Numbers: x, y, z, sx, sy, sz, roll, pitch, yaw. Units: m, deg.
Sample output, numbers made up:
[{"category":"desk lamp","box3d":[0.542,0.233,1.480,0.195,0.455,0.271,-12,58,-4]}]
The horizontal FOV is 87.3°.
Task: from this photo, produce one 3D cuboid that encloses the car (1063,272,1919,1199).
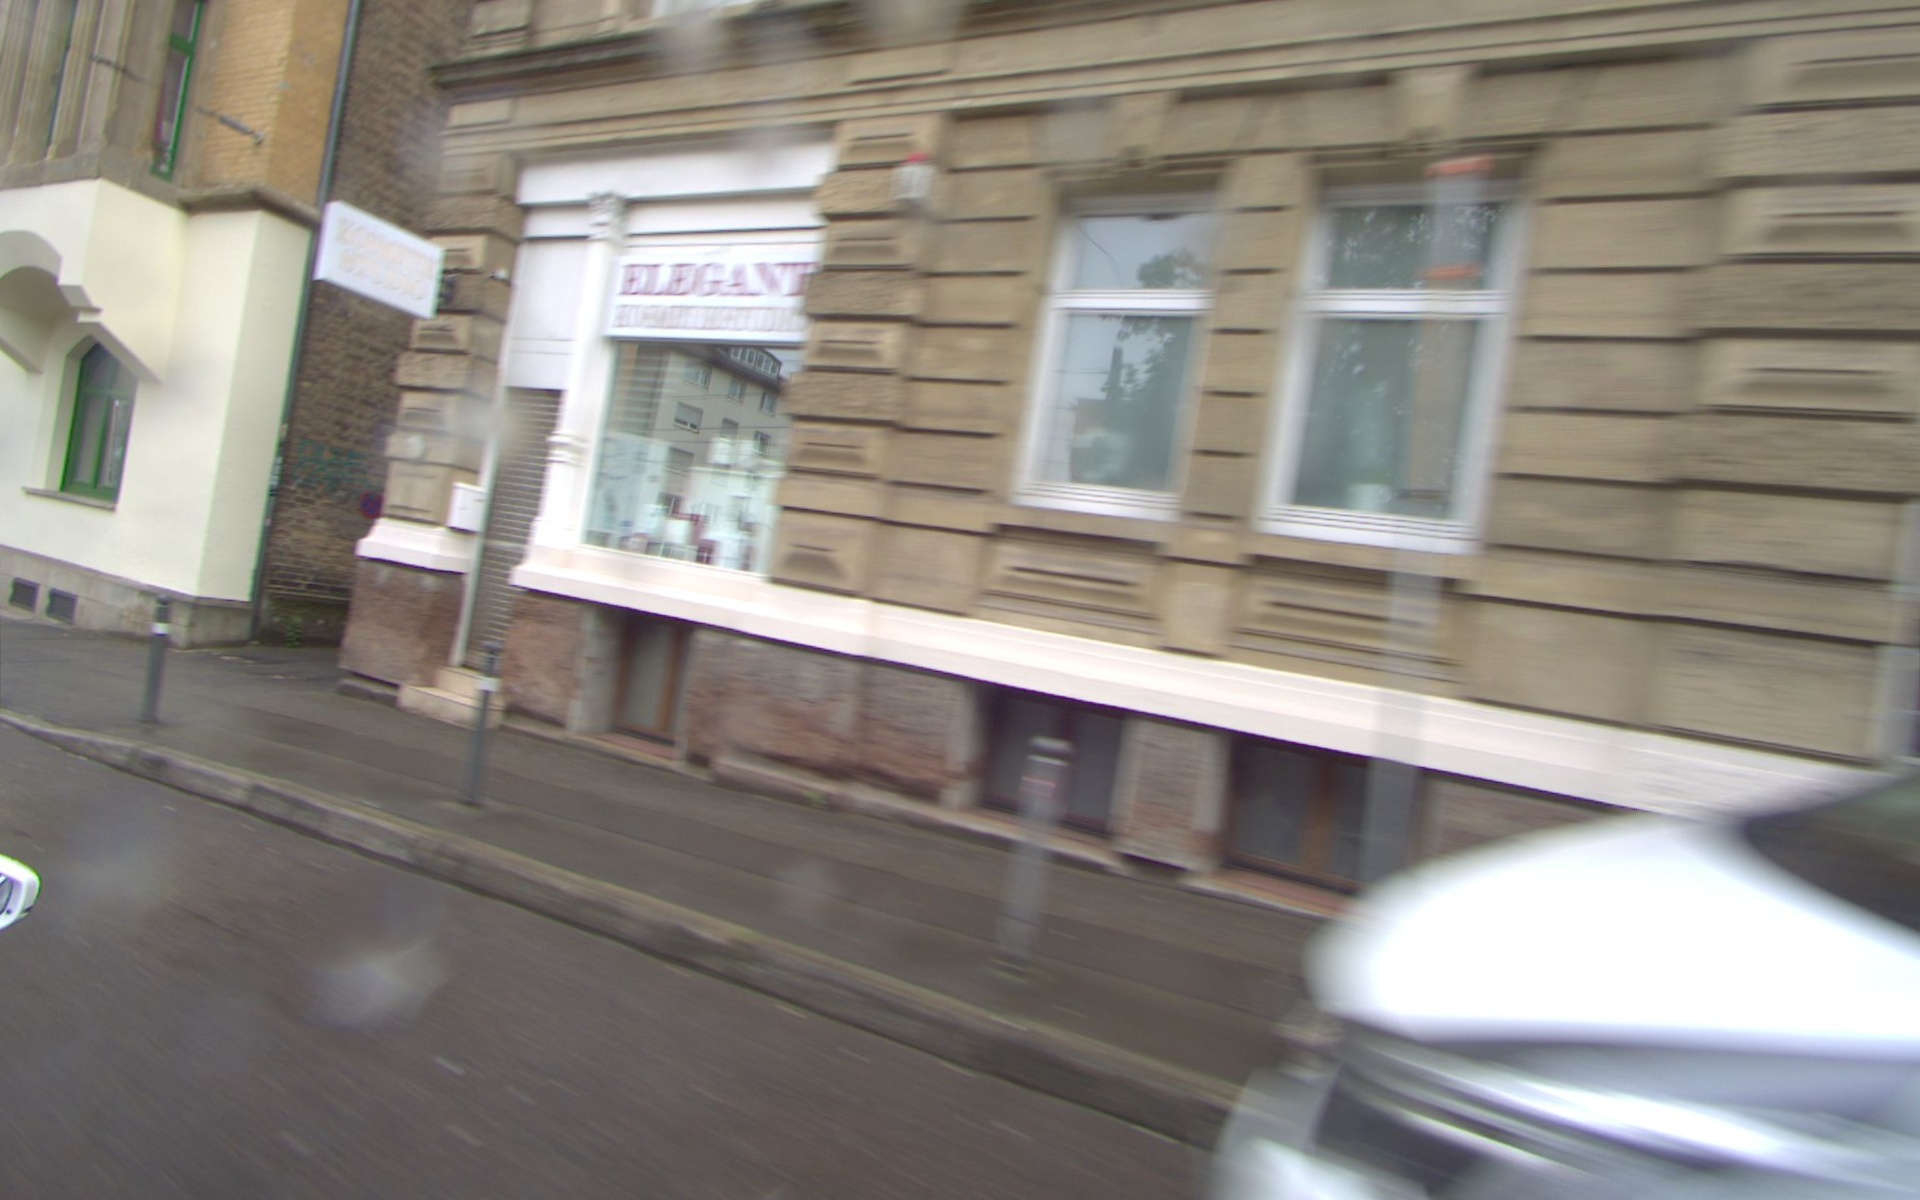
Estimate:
[{"category":"car","box3d":[3.134,0.971,0.638,5.887,1.925,1.826,6,-3,28]}]
